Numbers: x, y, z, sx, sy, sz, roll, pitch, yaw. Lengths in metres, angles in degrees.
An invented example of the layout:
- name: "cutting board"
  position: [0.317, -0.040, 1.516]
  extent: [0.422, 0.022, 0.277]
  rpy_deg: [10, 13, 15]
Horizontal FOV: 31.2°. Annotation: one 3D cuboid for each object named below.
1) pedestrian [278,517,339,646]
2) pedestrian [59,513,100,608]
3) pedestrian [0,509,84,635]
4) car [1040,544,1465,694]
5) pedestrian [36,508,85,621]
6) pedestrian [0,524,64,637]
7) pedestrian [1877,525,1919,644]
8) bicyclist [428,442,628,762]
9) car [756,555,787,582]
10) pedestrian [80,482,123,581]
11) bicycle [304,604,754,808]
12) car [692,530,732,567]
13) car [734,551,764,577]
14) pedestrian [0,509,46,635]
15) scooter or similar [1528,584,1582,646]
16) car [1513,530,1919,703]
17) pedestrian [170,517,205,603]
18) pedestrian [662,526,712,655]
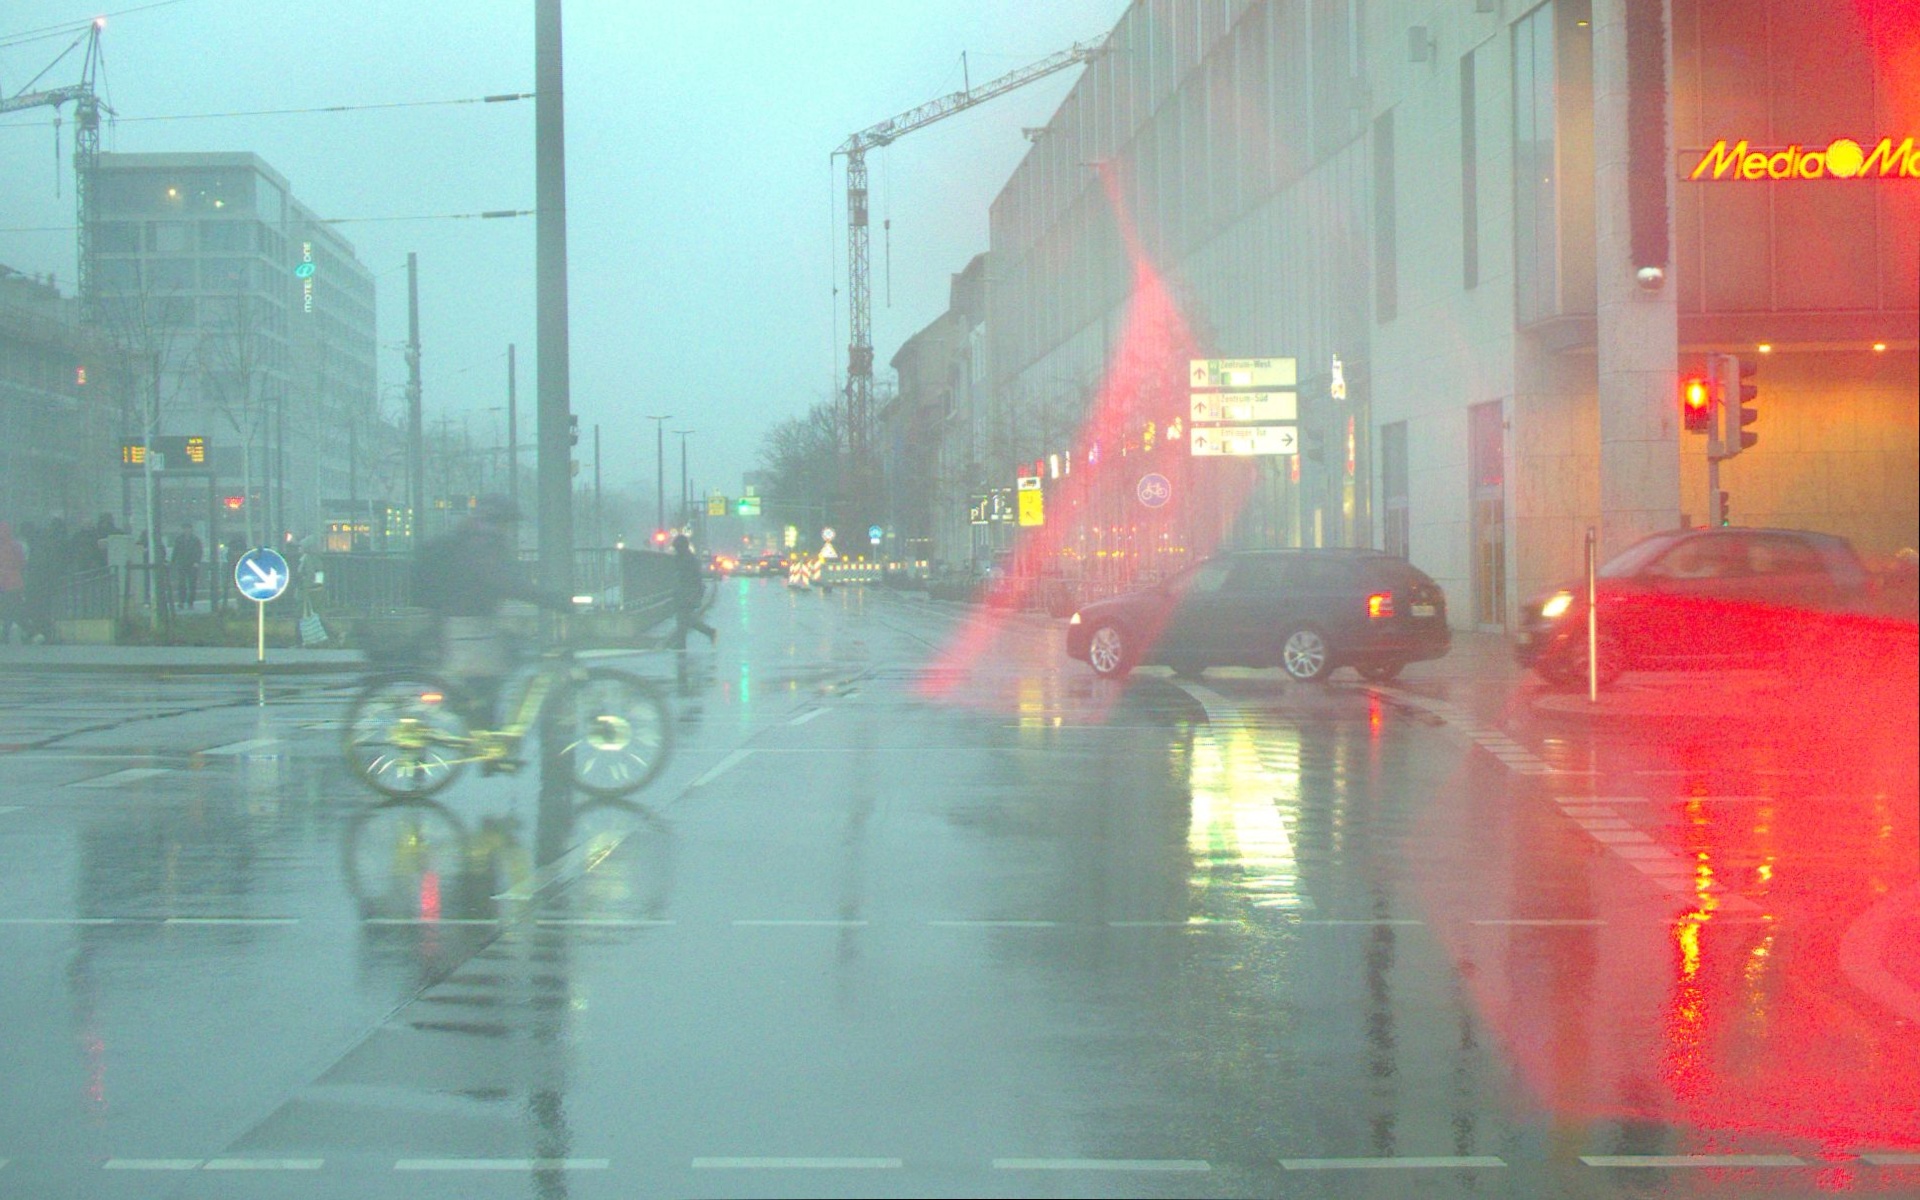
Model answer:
- name: "pedestrian"
  position: [-9.017, -0.257, 47.603]
  extent: [0.703, 1.754, 0.652]
  rpy_deg: [-1, 1, -1]
- name: "pedestrian"
  position: [-16.279, -0.730, 63.568]
  extent: [0.611, 1.740, 0.621]
  rpy_deg: [-1, 1, -6]
- name: "pedestrian"
  position: [-12.464, -0.382, 46.671]
  extent: [0.844, 1.682, 0.676]
  rpy_deg: [-1, 1, 22]
- name: "car"
  position: [3.228, 0.184, 38.504]
  extent: [4.547, 1.568, 1.792]
  rpy_deg: [0, 1, 41]
- name: "pedestrian"
  position: [-14.058, -0.556, 53.758]
  extent: [0.619, 1.740, 0.613]
  rpy_deg: [-1, 1, -6]
- name: "pedestrian"
  position: [-13.432, -0.281, 49.380]
  extent: [0.811, 1.602, 0.743]
  rpy_deg: [0, 1, 43]
- name: "pedestrian"
  position: [13.740, -0.228, 50.143]
  extent: [0.536, 1.712, 0.501]
  rpy_deg: [0, 1, 37]
- name: "bicyclist"
  position: [-2.349, 0.004, 18.704]
  extent: [1.033, 1.691, 0.618]
  rpy_deg: [-1, 1, -7]
- name: "car"
  position: [-12.485, -2.074, 228.212]
  extent: [1.888, 1.777, 3.714]
  rpy_deg: [1, 0, -1]
- name: "pedestrian"
  position: [-15.244, -1.212, 61.063]
  extent: [0.660, 1.740, 0.736]
  rpy_deg: [-1, 1, -11]
- name: "bicycle"
  position: [-2.332, 0.565, 18.705]
  extent: [2.372, 1.029, 0.618]
  rpy_deg: [-1, 1, -7]
- name: "car"
  position: [-13.947, -2.878, 193.697]
  extent: [1.993, 2.007, 4.000]
  rpy_deg: [1, 0, -1]
- name: "car"
  position: [-14.819, -2.547, 241.267]
  extent: [1.888, 1.777, 3.714]
  rpy_deg: [1, 0, -1]
- name: "pedestrian"
  position: [-12.783, -0.371, 46.044]
  extent: [0.831, 1.673, 0.619]
  rpy_deg: [-1, 1, 16]
- name: "scooter or similar"
  position: [8.874, 0.225, 51.279]
  extent: [0.741, 0.913, 0.400]
  rpy_deg: [-1, 1, 1]
- name: "car"
  position: [7.343, 0.150, 33.496]
  extent: [3.568, 1.577, 1.677]
  rpy_deg: [-1, 0, -3]
- name: "pedestrian"
  position: [-15.618, -0.810, 69.515]
  extent: [0.660, 1.740, 0.621]
  rpy_deg: [-1, 1, -11]
- name: "pedestrian"
  position: [-3.775, -0.132, 47.610]
  extent: [0.633, 1.766, 0.484]
  rpy_deg: [-1, 1, -2]
